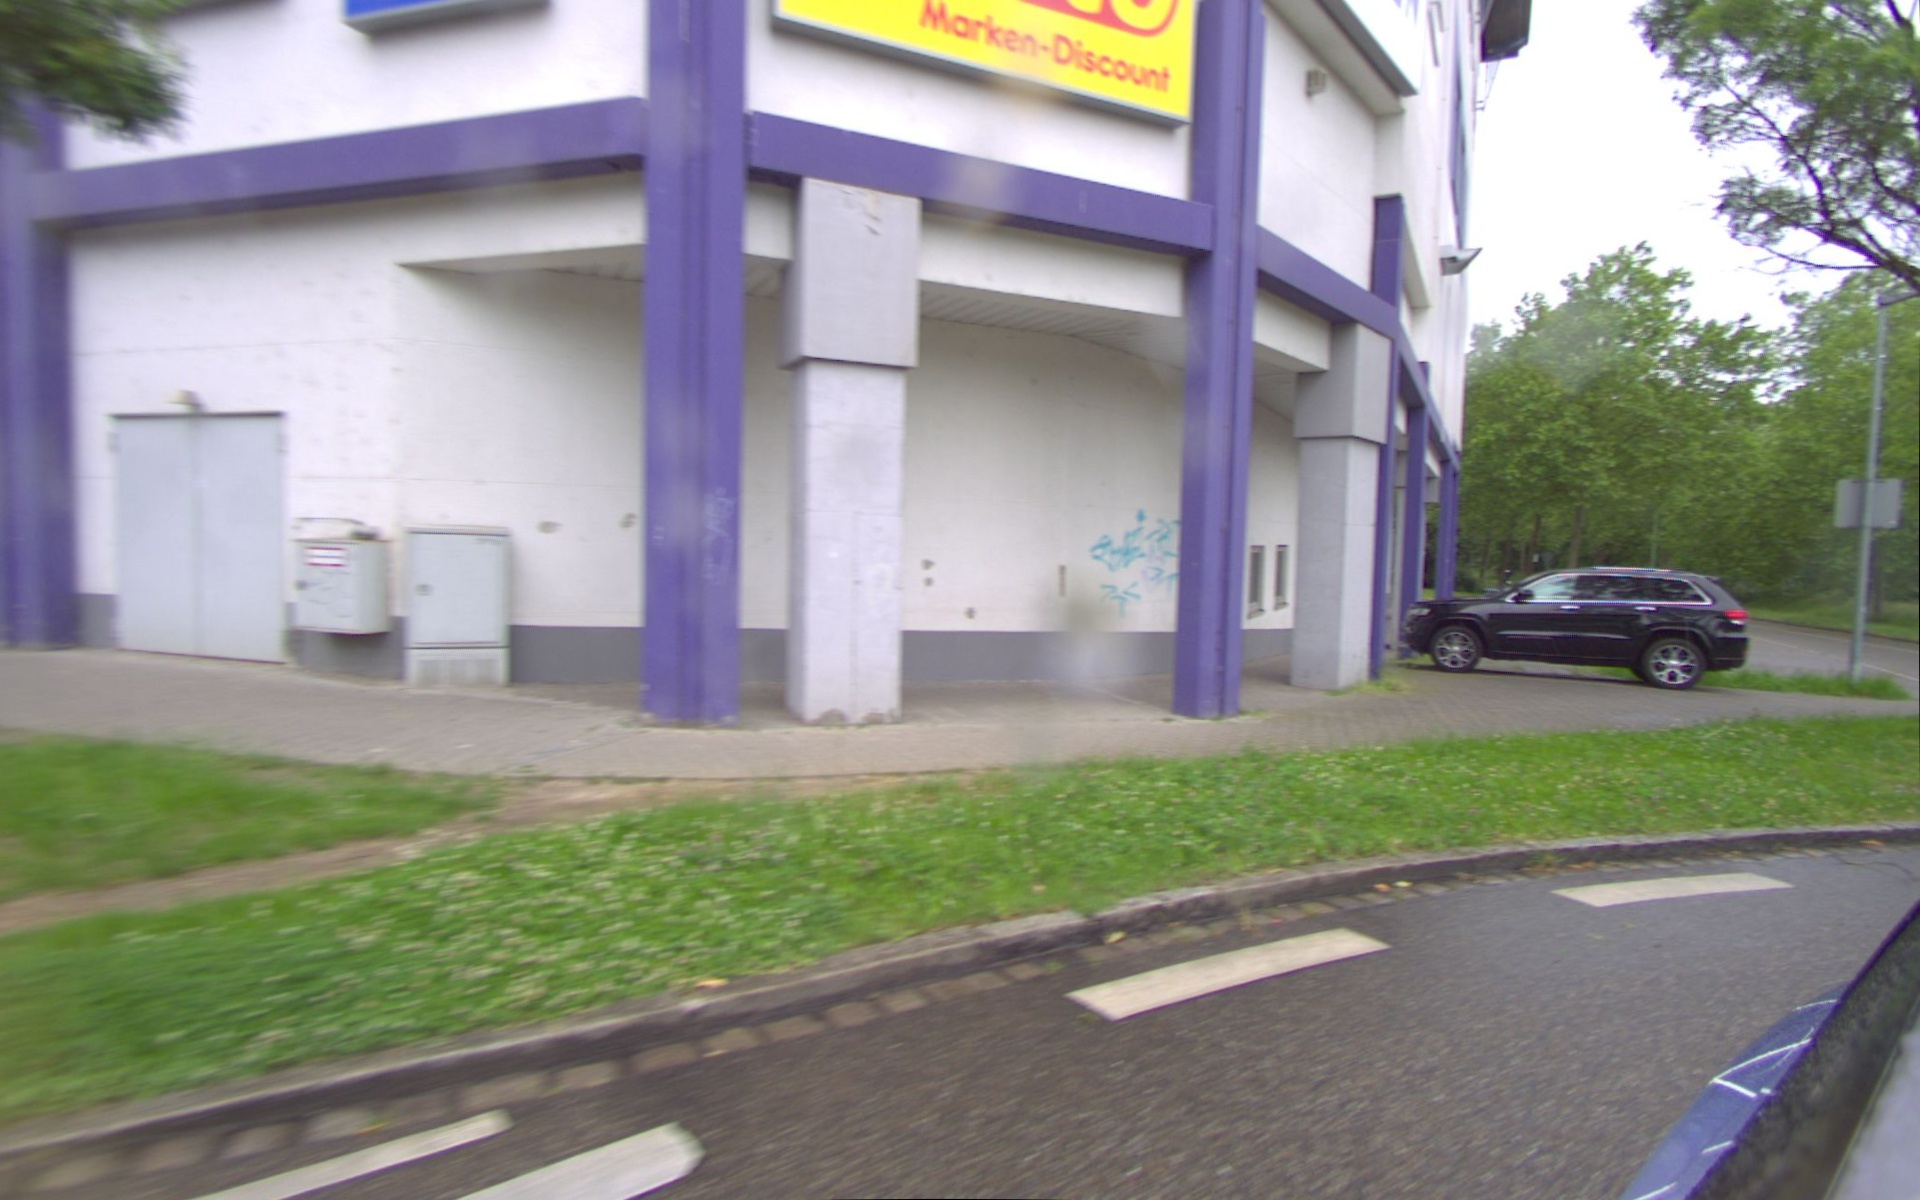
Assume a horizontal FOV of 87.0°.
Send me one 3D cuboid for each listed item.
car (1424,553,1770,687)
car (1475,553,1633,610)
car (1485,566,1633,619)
[{"bbox_3d":[9.814,0.236,16.040,4.351,1.781,1.811,3,1,28],"label":"car"},{"bbox_3d":[17.813,-0.608,30.557,3.916,1.470,1.704,4,4,29],"label":"car"},{"bbox_3d":[22.150,-0.315,37.657,4.436,1.700,1.754,4,2,23],"label":"car"}]
